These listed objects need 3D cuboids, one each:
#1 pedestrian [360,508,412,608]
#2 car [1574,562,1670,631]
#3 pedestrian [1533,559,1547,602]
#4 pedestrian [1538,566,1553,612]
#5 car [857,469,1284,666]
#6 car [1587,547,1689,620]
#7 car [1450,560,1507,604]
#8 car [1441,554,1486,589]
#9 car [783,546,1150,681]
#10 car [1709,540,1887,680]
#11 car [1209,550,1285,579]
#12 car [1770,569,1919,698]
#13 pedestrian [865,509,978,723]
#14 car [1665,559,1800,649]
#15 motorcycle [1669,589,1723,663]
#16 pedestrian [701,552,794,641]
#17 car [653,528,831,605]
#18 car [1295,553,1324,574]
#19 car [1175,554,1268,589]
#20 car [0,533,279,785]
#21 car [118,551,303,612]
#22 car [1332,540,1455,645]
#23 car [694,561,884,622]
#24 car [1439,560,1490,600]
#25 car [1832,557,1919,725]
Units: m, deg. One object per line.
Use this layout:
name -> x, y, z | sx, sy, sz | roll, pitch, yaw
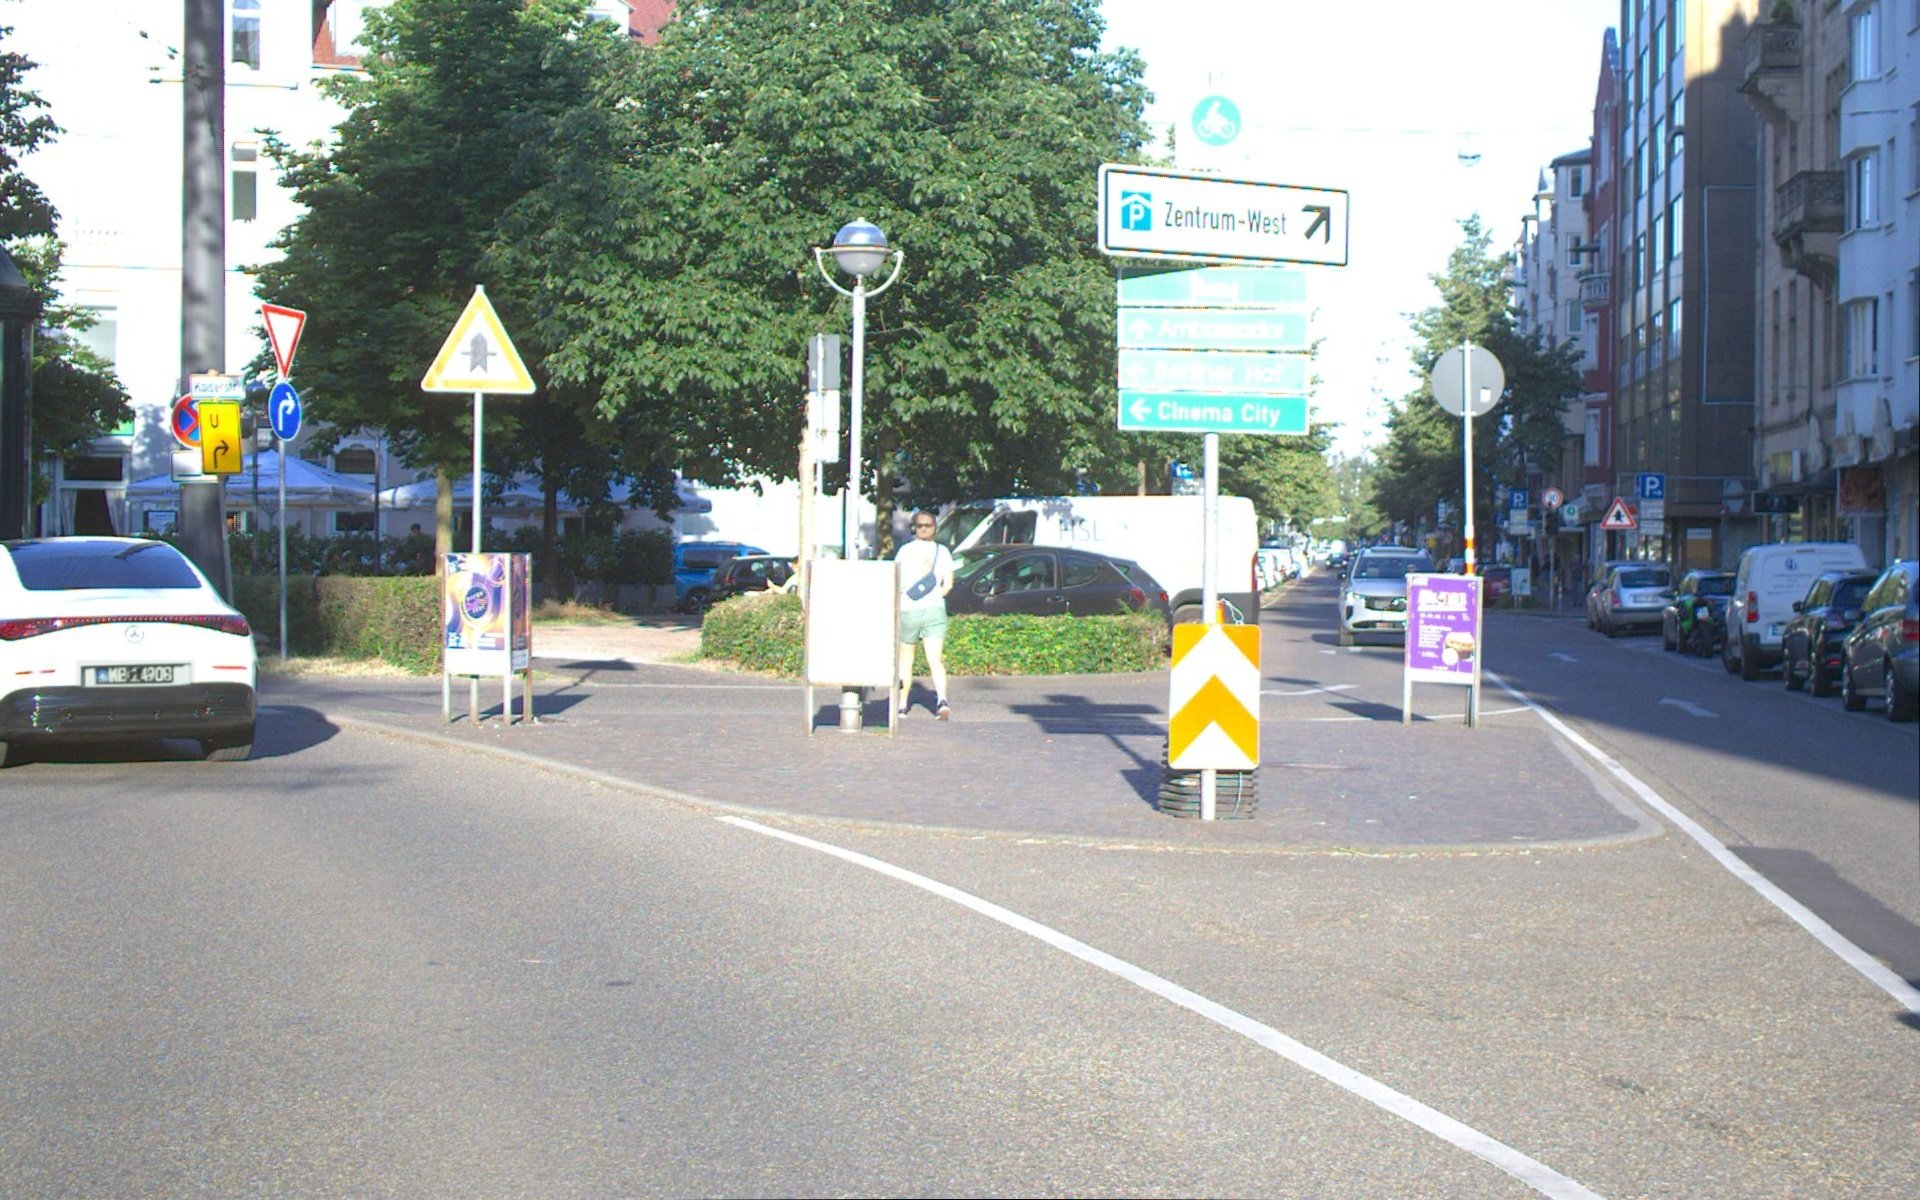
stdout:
pedestrian -> -11.234, -0.824, 67.336 | 0.933, 1.917, 0.857 | 1, 0, -7
car -> 14.854, -0.098, 77.296 | 1.752, 1.505, 3.545 | -1, 0, 5
pedestrian -> 25.990, -0.880, 154.077 | 0.531, 1.917, 0.542 | 1, 0, 5
pedestrian -> 24.577, -0.448, 144.238 | 0.531, 1.917, 0.542 | 1, 0, 5
car -> 1.537, -0.438, 48.070 | 5.510, 2.586, 2.155 | 1, 1, -20
car -> 14.448, -0.366, 73.387 | 1.752, 1.505, 3.545 | -1, 0, 5
car -> 18.132, -0.641, 120.296 | 1.752, 1.505, 3.545 | -1, 0, 5
car -> 22.343, -1.265, 152.543 | 1.752, 1.505, 3.545 | -1, 0, 5
car -> 0.082, 0.166, 41.432 | 3.986, 1.547, 1.879 | 1, 1, -27
car -> 11.507, 0.113, 47.458 | 1.926, 1.835, 4.016 | -1, 0, 7
car -> 14.011, -1.737, 167.973 | 3.377, 1.283, 1.673 | 2, 1, -9
car -> 10.802, 0.372, 41.073 | 1.735, 1.457, 3.584 | -1, 0, 6
pedestrian -> -0.310, 0.123, 28.154 | 0.859, 1.700, 0.941 | 2, 1, 0
car -> 13.401, 0.053, 59.826 | 1.752, 1.505, 3.974 | -1, 0, 5
motorcycle -> 12.121, 0.418, 56.621 | 0.486, 1.170, 1.607 | -2, 1, -1
pedestrian -> -3.031, -0.048, 48.996 | 1.097, 1.222, 0.860 | 2, 1, -20
car -> -5.309, -0.807, 83.730 | 3.986, 1.776, 1.853 | 1, 1, -16
car -> 21.892, -2.289, 215.065 | 1.667, 1.283, 3.388 | 2, 1, 7
car -> 10.459, -1.130, 137.717 | 3.377, 1.283, 1.673 | 2, 1, -9
car -> -5.942, 0.314, 22.912 | 1.865, 1.436, 4.198 | -2, 2, -23
car -> -17.127, -0.430, 78.515 | 3.986, 1.297, 1.853 | 1, 1, -16
car -> 7.732, -0.161, 61.585 | 1.994, 1.766, 3.999 | 1, 1, 5
car -> -3.918, -0.197, 78.630 | 3.986, 1.297, 1.853 | 1, 1, -16
car -> 19.448, -0.763, 132.628 | 1.752, 1.505, 3.545 | -1, 0, 5
car -> 10.046, 0.372, 34.932 | 1.735, 1.611, 3.916 | -1, 0, 6
